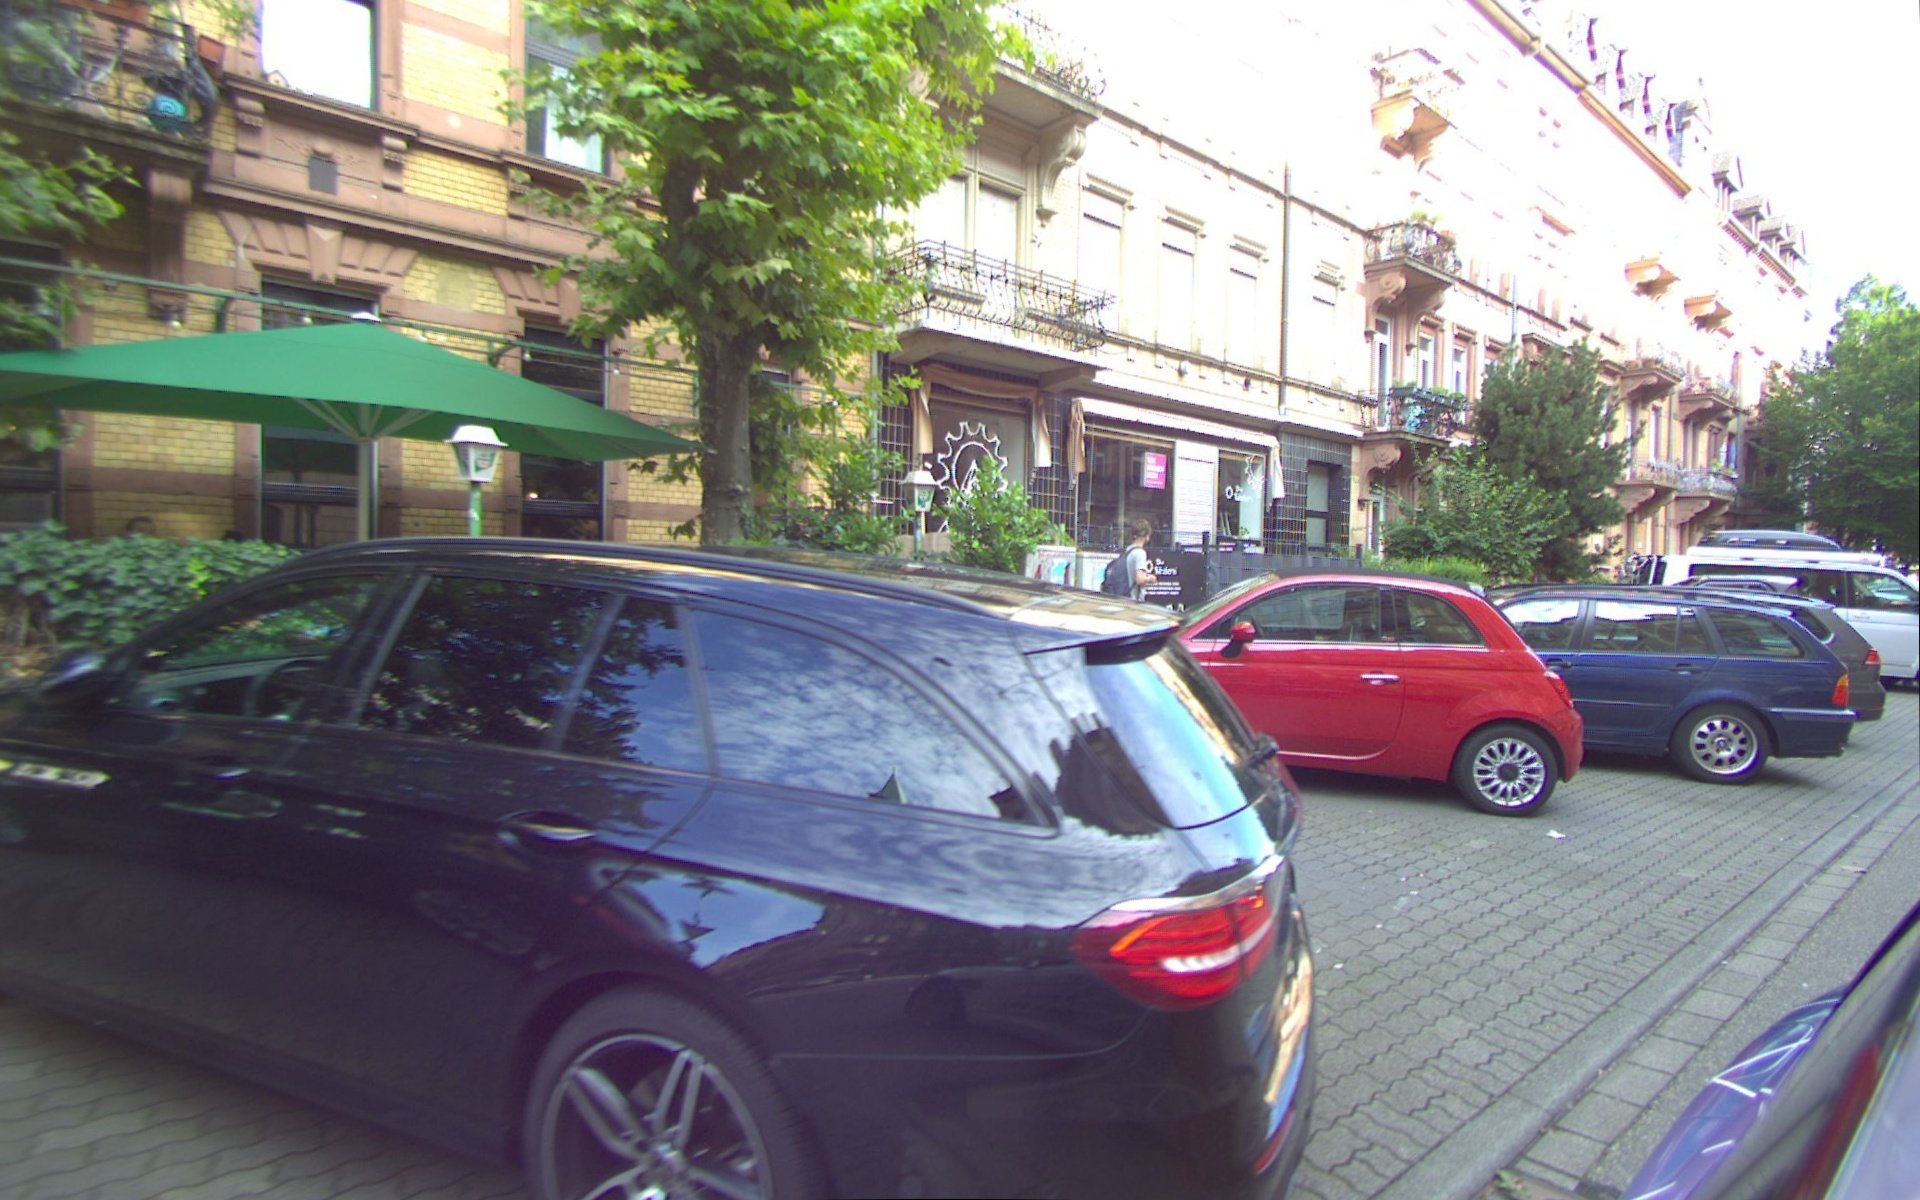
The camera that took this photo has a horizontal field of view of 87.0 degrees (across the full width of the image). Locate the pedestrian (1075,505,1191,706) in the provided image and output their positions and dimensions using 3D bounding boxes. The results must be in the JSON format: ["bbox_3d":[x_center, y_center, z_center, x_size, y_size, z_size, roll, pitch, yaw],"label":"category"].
[{"bbox_3d":[1.725,0.039,10.122,0.709,1.901,0.842,1,2,-36],"label":"pedestrian"}]

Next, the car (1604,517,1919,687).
[{"bbox_3d":[13.472,-0.011,16.005,5.091,2.434,1.908,2,2,18],"label":"car"}]

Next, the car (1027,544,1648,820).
[{"bbox_3d":[2.445,0.445,7.284,3.663,1.503,1.735,3,2,13],"label":"car"}]

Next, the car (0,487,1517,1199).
[{"bbox_3d":[-1.162,0.510,3.095,4.715,1.474,2.041,4,2,23],"label":"car"}]

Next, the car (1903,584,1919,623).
[{"bbox_3d":[38.558,0.266,37.713,4.552,1.469,1.783,3,3,19],"label":"car"}]

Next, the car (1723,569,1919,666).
[{"bbox_3d":[17.812,0.326,19.578,4.394,1.754,1.990,1,0,16],"label":"car"}]

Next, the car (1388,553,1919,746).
[{"bbox_3d":[7.084,0.418,10.582,4.399,1.495,1.884,4,2,11],"label":"car"}]

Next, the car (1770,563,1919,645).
[{"bbox_3d":[23.248,0.152,25.058,1.778,1.806,4.648,3,3,-41],"label":"car"}]

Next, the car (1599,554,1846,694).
[{"bbox_3d":[10.780,0.285,14.497,2.443,1.687,1.336,5,2,24],"label":"car"}]

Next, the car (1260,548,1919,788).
[{"bbox_3d":[4.941,0.432,8.700,4.407,1.482,1.870,4,2,16],"label":"car"}]

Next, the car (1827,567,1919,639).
[{"bbox_3d":[26.651,0.132,27.396,4.347,1.844,1.745,3,3,19],"label":"car"}]

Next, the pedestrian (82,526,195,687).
[{"bbox_3d":[-6.651,0.037,8.198,0.487,1.233,0.640,5,4,41],"label":"pedestrian"}]

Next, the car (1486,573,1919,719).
[{"bbox_3d":[8.968,0.483,12.519,3.929,1.477,1.747,3,2,9],"label":"car"}]

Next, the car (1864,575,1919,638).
[{"bbox_3d":[28.790,0.249,28.888,3.950,1.762,1.828,3,2,20],"label":"car"}]

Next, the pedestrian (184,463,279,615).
[{"bbox_3d":[-6.172,-0.513,8.576,0.465,1.233,0.555,5,4,41],"label":"pedestrian"}]
